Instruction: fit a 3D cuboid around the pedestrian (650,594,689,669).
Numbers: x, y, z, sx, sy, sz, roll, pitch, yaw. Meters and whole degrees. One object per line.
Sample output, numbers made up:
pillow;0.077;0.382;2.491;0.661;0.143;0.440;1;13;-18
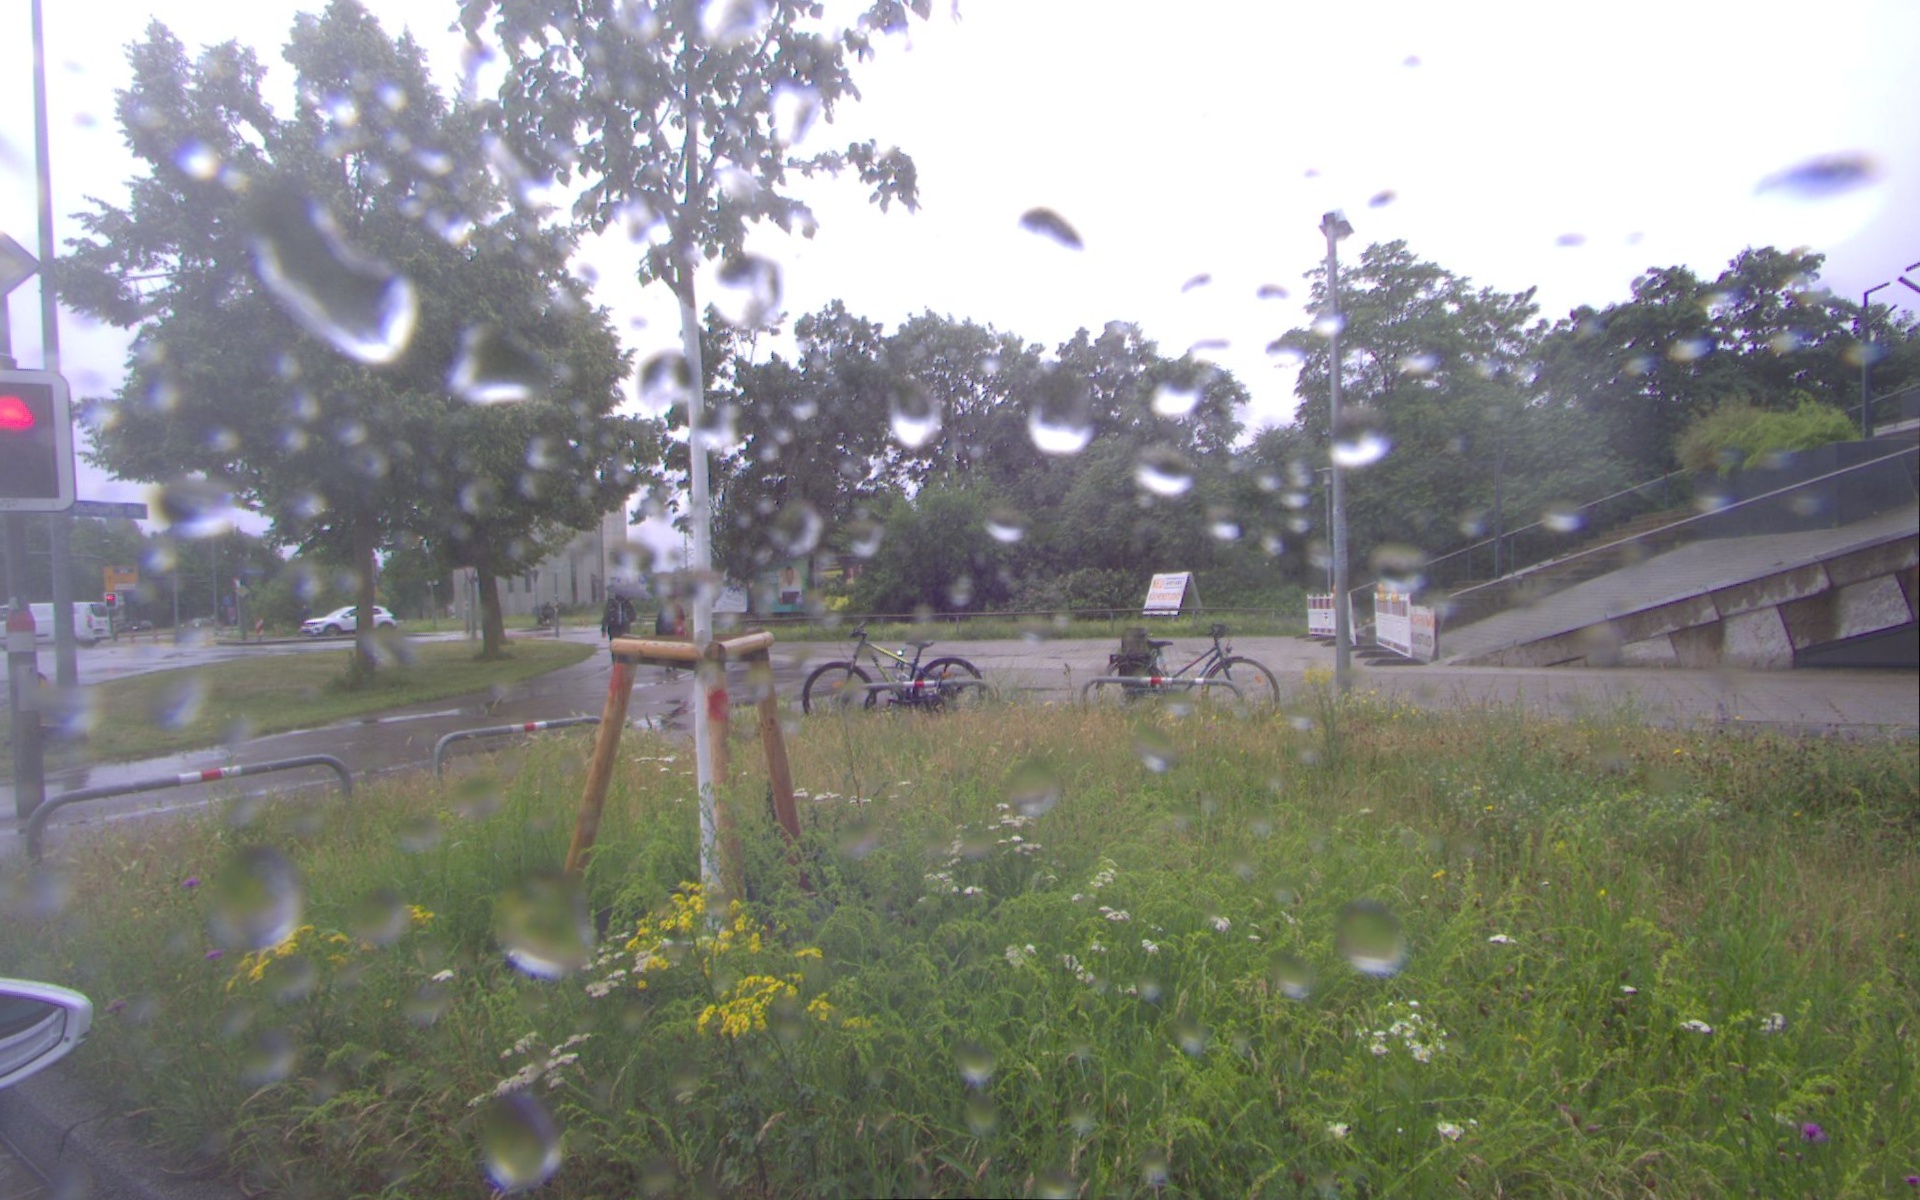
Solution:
pedestrian;-5.887;0.631;20.314;0.562;1.480;0.682;-2;1;-3

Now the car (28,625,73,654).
car;-49.941;2.160;54.957;3.947;1.473;1.608;-1;0;45

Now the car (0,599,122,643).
car;-40.280;0.932;44.114;4.696;1.874;1.995;0;-2;-22

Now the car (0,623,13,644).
car;-77.341;2.640;79.265;1.770;1.683;3.995;0;-2;-17

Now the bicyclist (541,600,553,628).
bicyclist;-26.418;0.901;64.084;0.491;1.764;0.586;-2;-2;44

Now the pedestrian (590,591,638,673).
pedestrian;-6.568;0.608;19.023;0.727;1.542;0.623;0;-1;-5

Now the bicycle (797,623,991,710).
bicycle;-0.625;0.636;9.630;1.823;0.797;0.380;0;-2;-2

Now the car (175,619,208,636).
car;-92.465;3.300;120.507;1.966;2.039;3.993;0;-2;-20

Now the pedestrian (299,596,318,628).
pedestrian;-38.832;0.724;59.672;0.660;1.892;0.813;-2;-2;40

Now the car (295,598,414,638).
car;-30.568;0.876;50.674;1.973;1.876;4.747;0;0;34

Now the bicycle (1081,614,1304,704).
bicycle;2.149;0.554;9.345;1.972;0.796;0.454;-1;-2;16

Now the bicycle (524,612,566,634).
bicycle;-26.489;1.486;63.998;0.565;1.330;2.489;-2;-3;42
